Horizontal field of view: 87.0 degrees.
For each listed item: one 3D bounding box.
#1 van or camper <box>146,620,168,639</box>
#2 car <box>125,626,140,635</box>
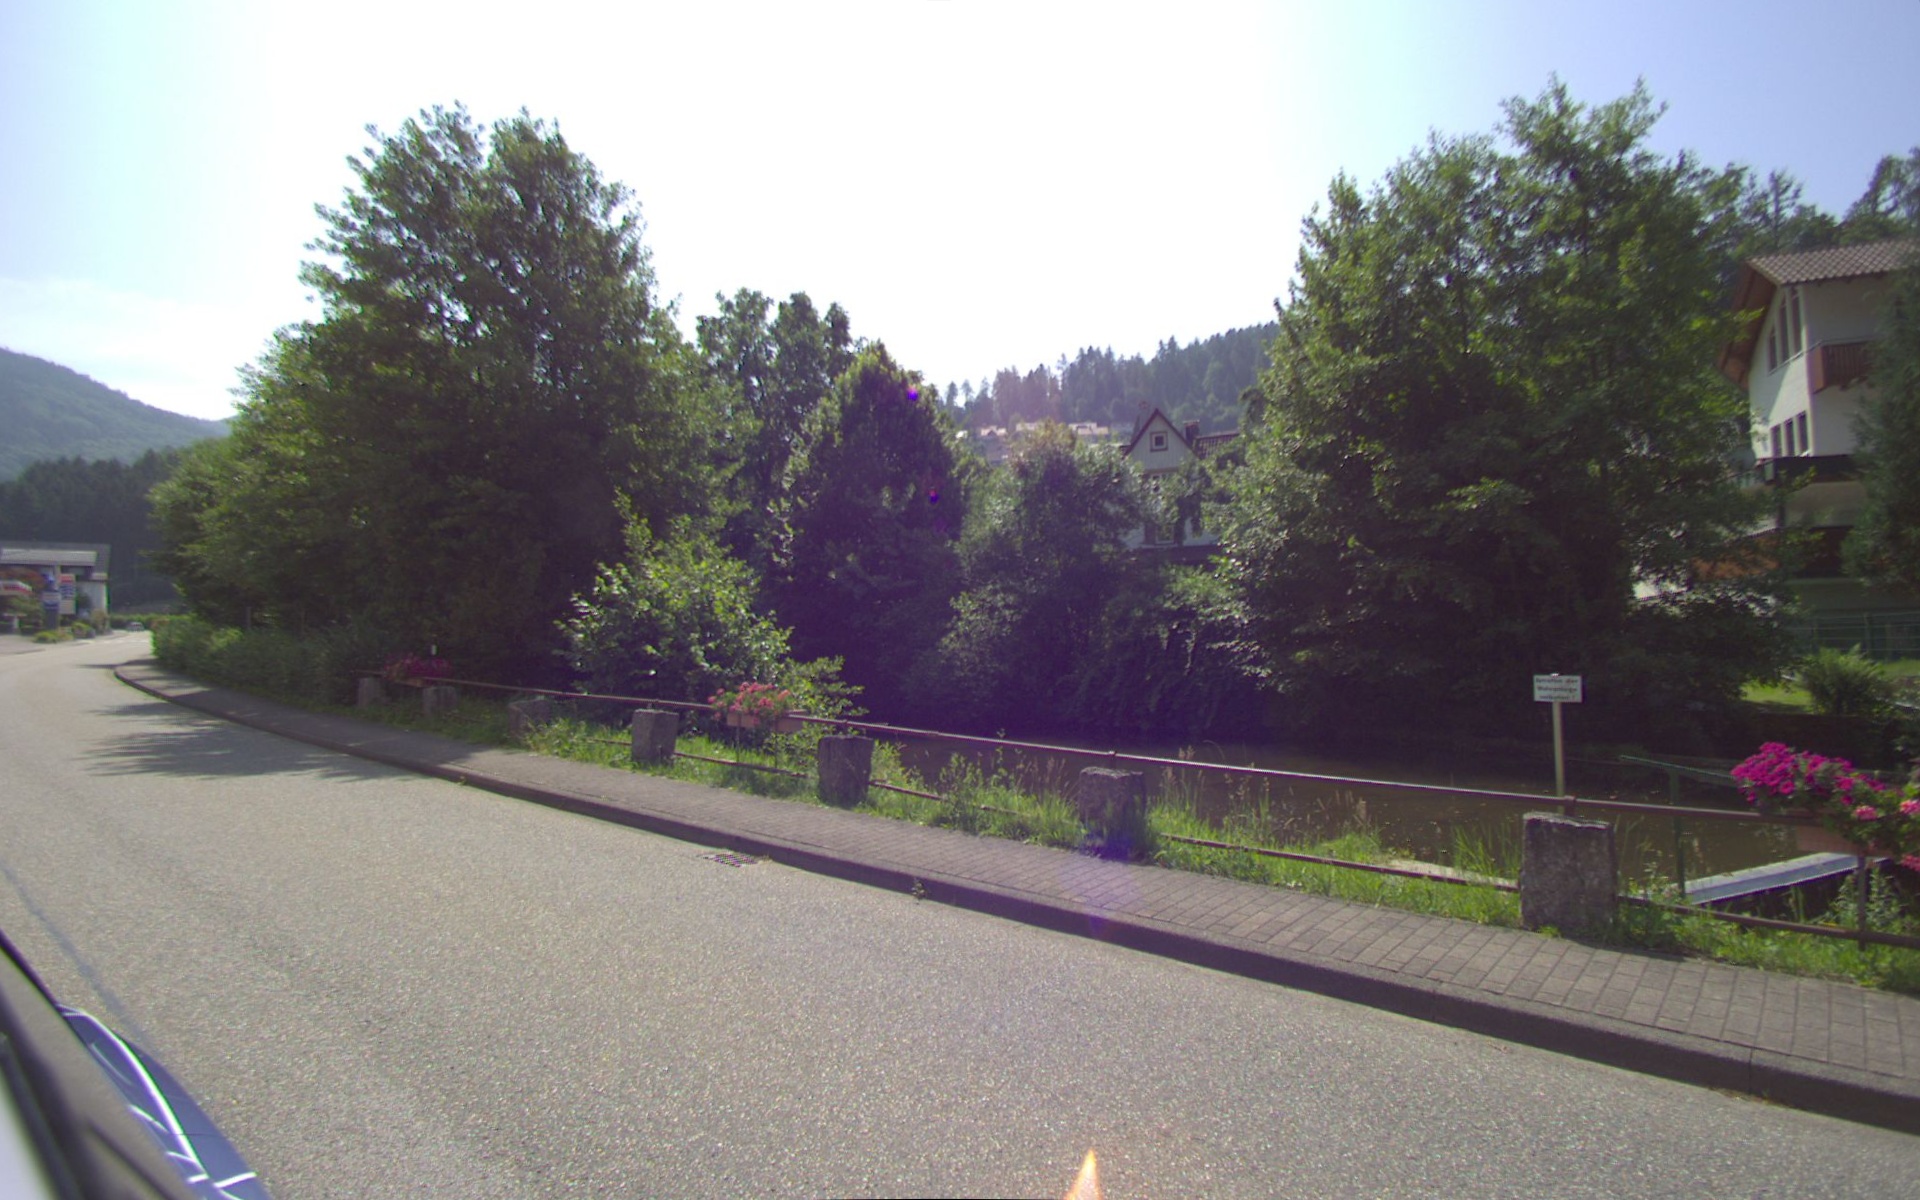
[{"bbox_3d":[-134.035,4.982,168.970,2.327,2.976,8.069,3,-3,-36],"label":"van or camper"},{"bbox_3d":[-135.571,4.984,165.775,1.569,1.494,3.766,3,-3,-35],"label":"car"}]
